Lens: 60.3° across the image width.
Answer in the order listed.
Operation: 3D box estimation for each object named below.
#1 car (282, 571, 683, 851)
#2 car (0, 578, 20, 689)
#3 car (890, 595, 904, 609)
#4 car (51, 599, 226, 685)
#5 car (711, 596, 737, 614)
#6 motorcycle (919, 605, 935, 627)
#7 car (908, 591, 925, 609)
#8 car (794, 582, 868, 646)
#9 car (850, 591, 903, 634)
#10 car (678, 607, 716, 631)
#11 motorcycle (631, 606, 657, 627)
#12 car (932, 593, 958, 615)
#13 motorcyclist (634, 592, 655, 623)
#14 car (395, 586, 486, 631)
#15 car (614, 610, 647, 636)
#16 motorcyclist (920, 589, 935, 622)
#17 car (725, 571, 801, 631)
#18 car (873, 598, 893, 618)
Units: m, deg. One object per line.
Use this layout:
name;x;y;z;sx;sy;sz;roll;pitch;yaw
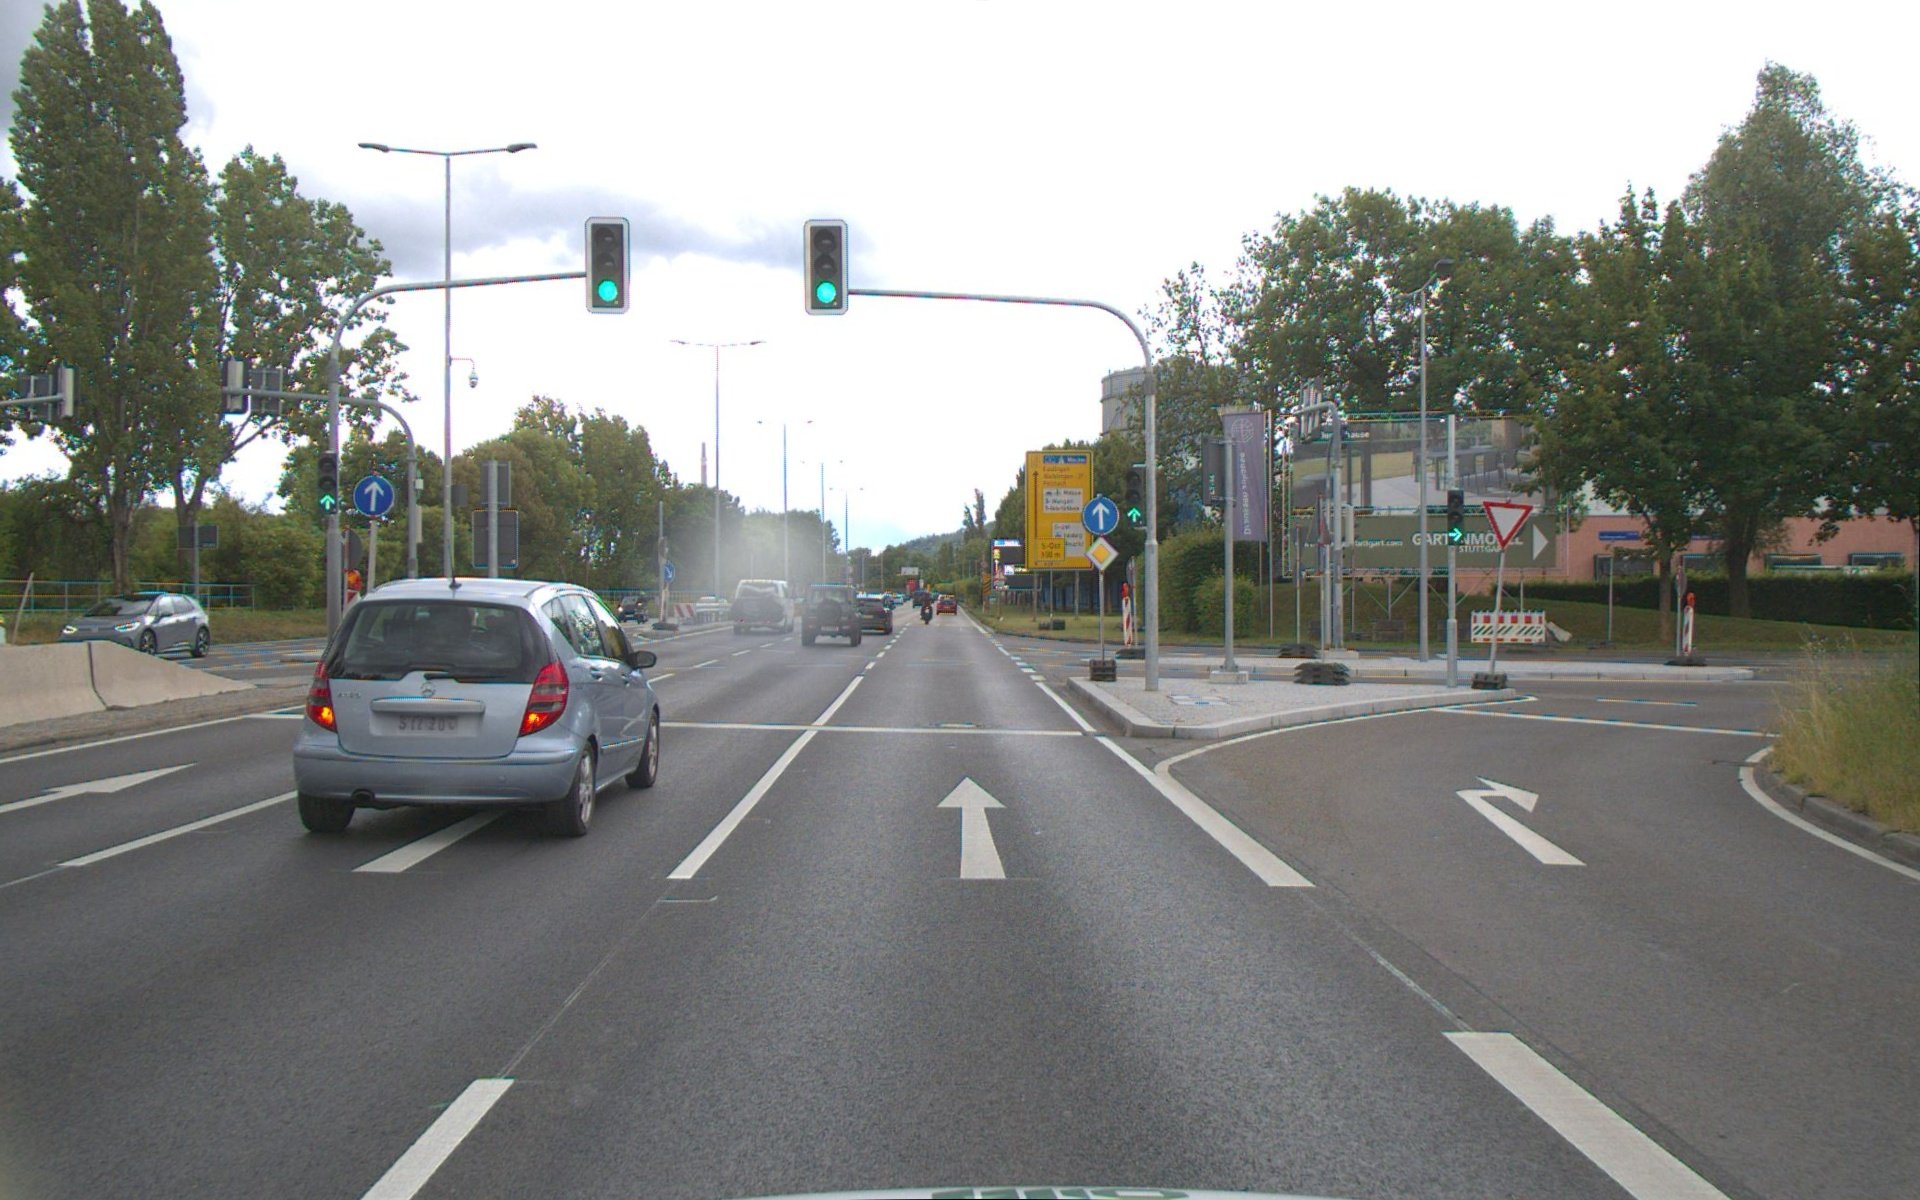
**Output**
car;-3.086;0.621;11.545;1.676;1.556;3.999;2;1;-1
car;-15.896;0.511;24.038;1.953;1.714;4.411;2;1;-1
car;-9.483;0.253;250.638;1.953;2.049;4.000;2;1;0
car;-18.970;0.921;38.417;1.953;1.685;4.288;2;2;-1
car;-22.569;0.467;158.322;1.953;1.668;4.000;2;1;-1
motorcycle;-1.623;0.792;82.567;0.692;1.058;2.027;2;1;1
car;-5.177;-0.061;197.575;1.953;2.049;4.000;2;1;-1
car;-3.704;0.358;47.999;1.869;1.713;3.999;2;1;-2
car;-3.071;0.439;61.809;1.803;1.489;3.999;2;1;-1
car;-18.794;1.350;118.437;1.953;1.519;4.804;2;1;-1
motorcycle;-16.391;0.870;85.773;0.894;1.006;2.162;2;-3;-1
car;-1.194;0.317;130.714;1.953;1.579;3.999;2;1;-2
motorcyclist;-16.371;0.380;85.839;0.894;1.548;0.980;2;-3;-1
car;-19.021;0.294;60.730;1.953;1.578;4.567;0;1;-1
car;-19.899;1.371;99.982;1.443;1.488;2.737;2;1;-1
motorcyclist;-1.609;0.277;82.713;0.670;1.638;0.845;2;0;1
car;-6.937;0.013;58.789;2.170;1.959;5.001;2;1;-1
car;-8.334;0.870;179.103;1.953;2.049;4.000;2;1;-1
